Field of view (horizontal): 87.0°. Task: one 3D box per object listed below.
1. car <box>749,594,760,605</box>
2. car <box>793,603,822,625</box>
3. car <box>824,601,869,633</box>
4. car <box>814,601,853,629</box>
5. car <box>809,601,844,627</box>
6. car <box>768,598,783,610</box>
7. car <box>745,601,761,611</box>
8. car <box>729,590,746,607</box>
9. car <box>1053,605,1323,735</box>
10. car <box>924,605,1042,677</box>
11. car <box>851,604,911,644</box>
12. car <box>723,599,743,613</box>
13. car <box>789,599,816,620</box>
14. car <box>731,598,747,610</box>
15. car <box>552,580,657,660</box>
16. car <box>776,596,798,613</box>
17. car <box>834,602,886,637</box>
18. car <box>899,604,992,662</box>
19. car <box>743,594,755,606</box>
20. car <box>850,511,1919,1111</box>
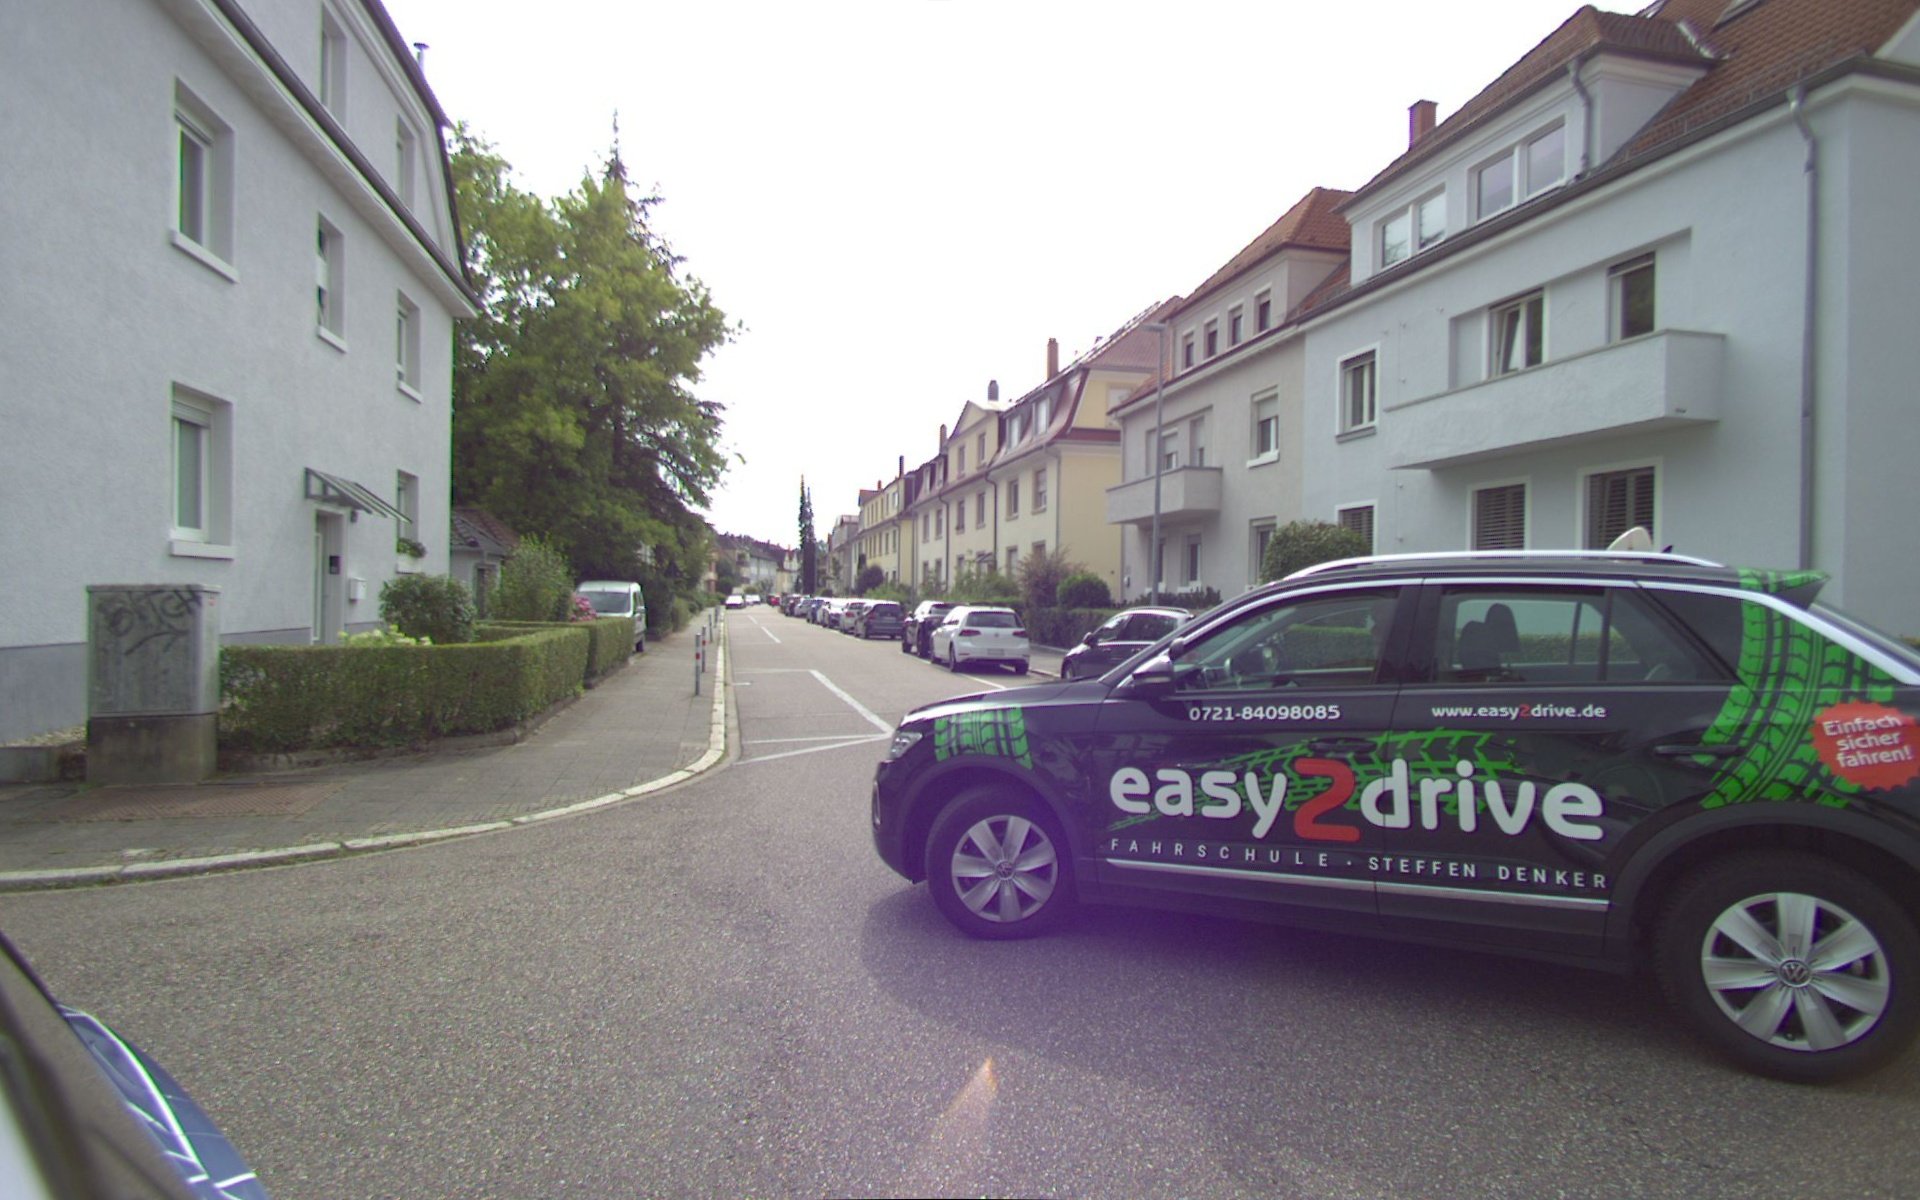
[{"bbox_3d":[-40.694,-0.087,200.539,1.968,2.139,4.008,1,0,-9],"label":"car"},{"bbox_3d":[-11.134,0.994,73.546,1.829,1.482,4.185,1,0,-12],"label":"car"},{"bbox_3d":[-5.725,0.828,50.597,1.829,1.482,4.185,1,0,-12],"label":"car"},{"bbox_3d":[-7.162,0.813,57.048,1.829,1.482,4.185,1,0,-12],"label":"car"},{"bbox_3d":[-8.121,0.804,61.317,1.829,1.482,4.185,1,0,-12],"label":"car"},{"bbox_3d":[-24.970,0.522,136.889,1.829,1.590,4.185,1,0,-12],"label":"car"},{"bbox_3d":[-32.542,0.978,158.922,1.970,1.548,4.004,-1,0,-4],"label":"car"},{"bbox_3d":[-28.266,-0.187,128.562,1.967,2.029,4.009,1,0,-11],"label":"car"},{"bbox_3d":[2.915,0.828,13.976,1.828,1.482,4.187,1,0,-16],"label":"car"},{"bbox_3d":[0.424,0.887,23.523,1.829,1.482,4.185,1,0,-12],"label":"car"},{"bbox_3d":[-3.173,0.900,39.818,1.829,1.482,4.185,1,0,-12],"label":"car"},{"bbox_3d":[-26.051,0.669,116.298,1.968,1.652,4.008,1,0,-9],"label":"car"},{"bbox_3d":[-12.294,0.715,78.652,1.829,1.590,4.185,1,0,-12],"label":"car"},{"bbox_3d":[-31.637,0.550,144.810,1.968,1.652,4.008,1,0,-9],"label":"car"},{"bbox_3d":[-8.885,0.473,25.601,1.967,1.851,4.009,1,0,-11],"label":"car"},{"bbox_3d":[-16.665,0.464,97.452,1.829,1.590,4.186,1,0,-13],"label":"car"},{"bbox_3d":[-4.504,0.841,45.023,1.829,1.482,4.185,1,0,-12],"label":"car"},{"bbox_3d":[-0.497,0.875,28.249,1.829,1.482,4.185,1,0,-12],"label":"car"},{"bbox_3d":[-39.220,-0.056,187.919,1.968,2.139,4.008,1,0,-9],"label":"car"},{"bbox_3d":[1.714,0.556,4.064,4.027,1.531,1.803,-1,-1,30],"label":"car"}]
